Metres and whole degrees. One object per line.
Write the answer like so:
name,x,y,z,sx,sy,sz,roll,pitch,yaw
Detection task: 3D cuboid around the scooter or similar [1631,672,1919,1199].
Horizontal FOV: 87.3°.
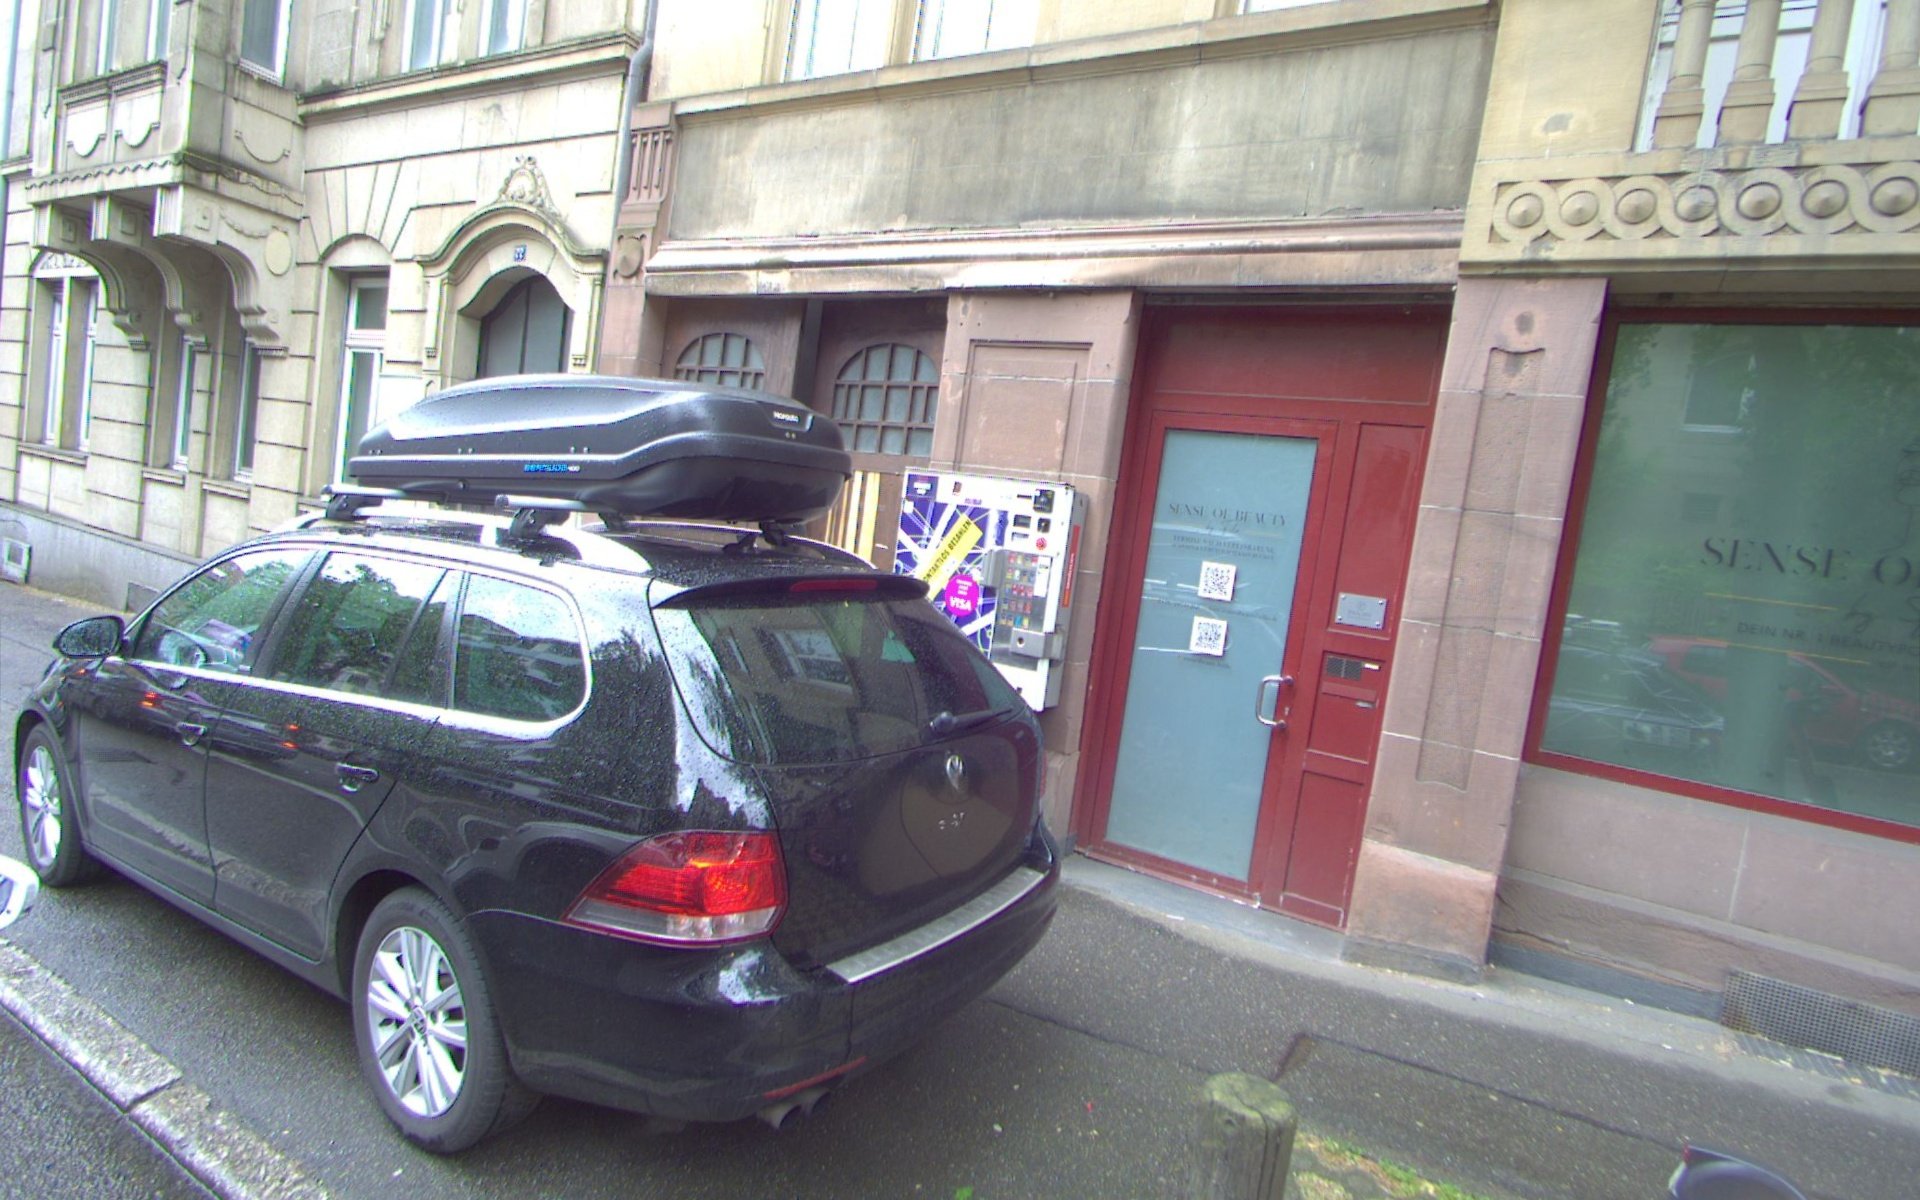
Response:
scooter or similar,2.137,0.896,1.985,1.183,1.336,0.593,7,3,32

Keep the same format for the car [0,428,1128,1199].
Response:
car,-1.693,0.370,3.531,4.031,1.675,1.757,7,6,32
